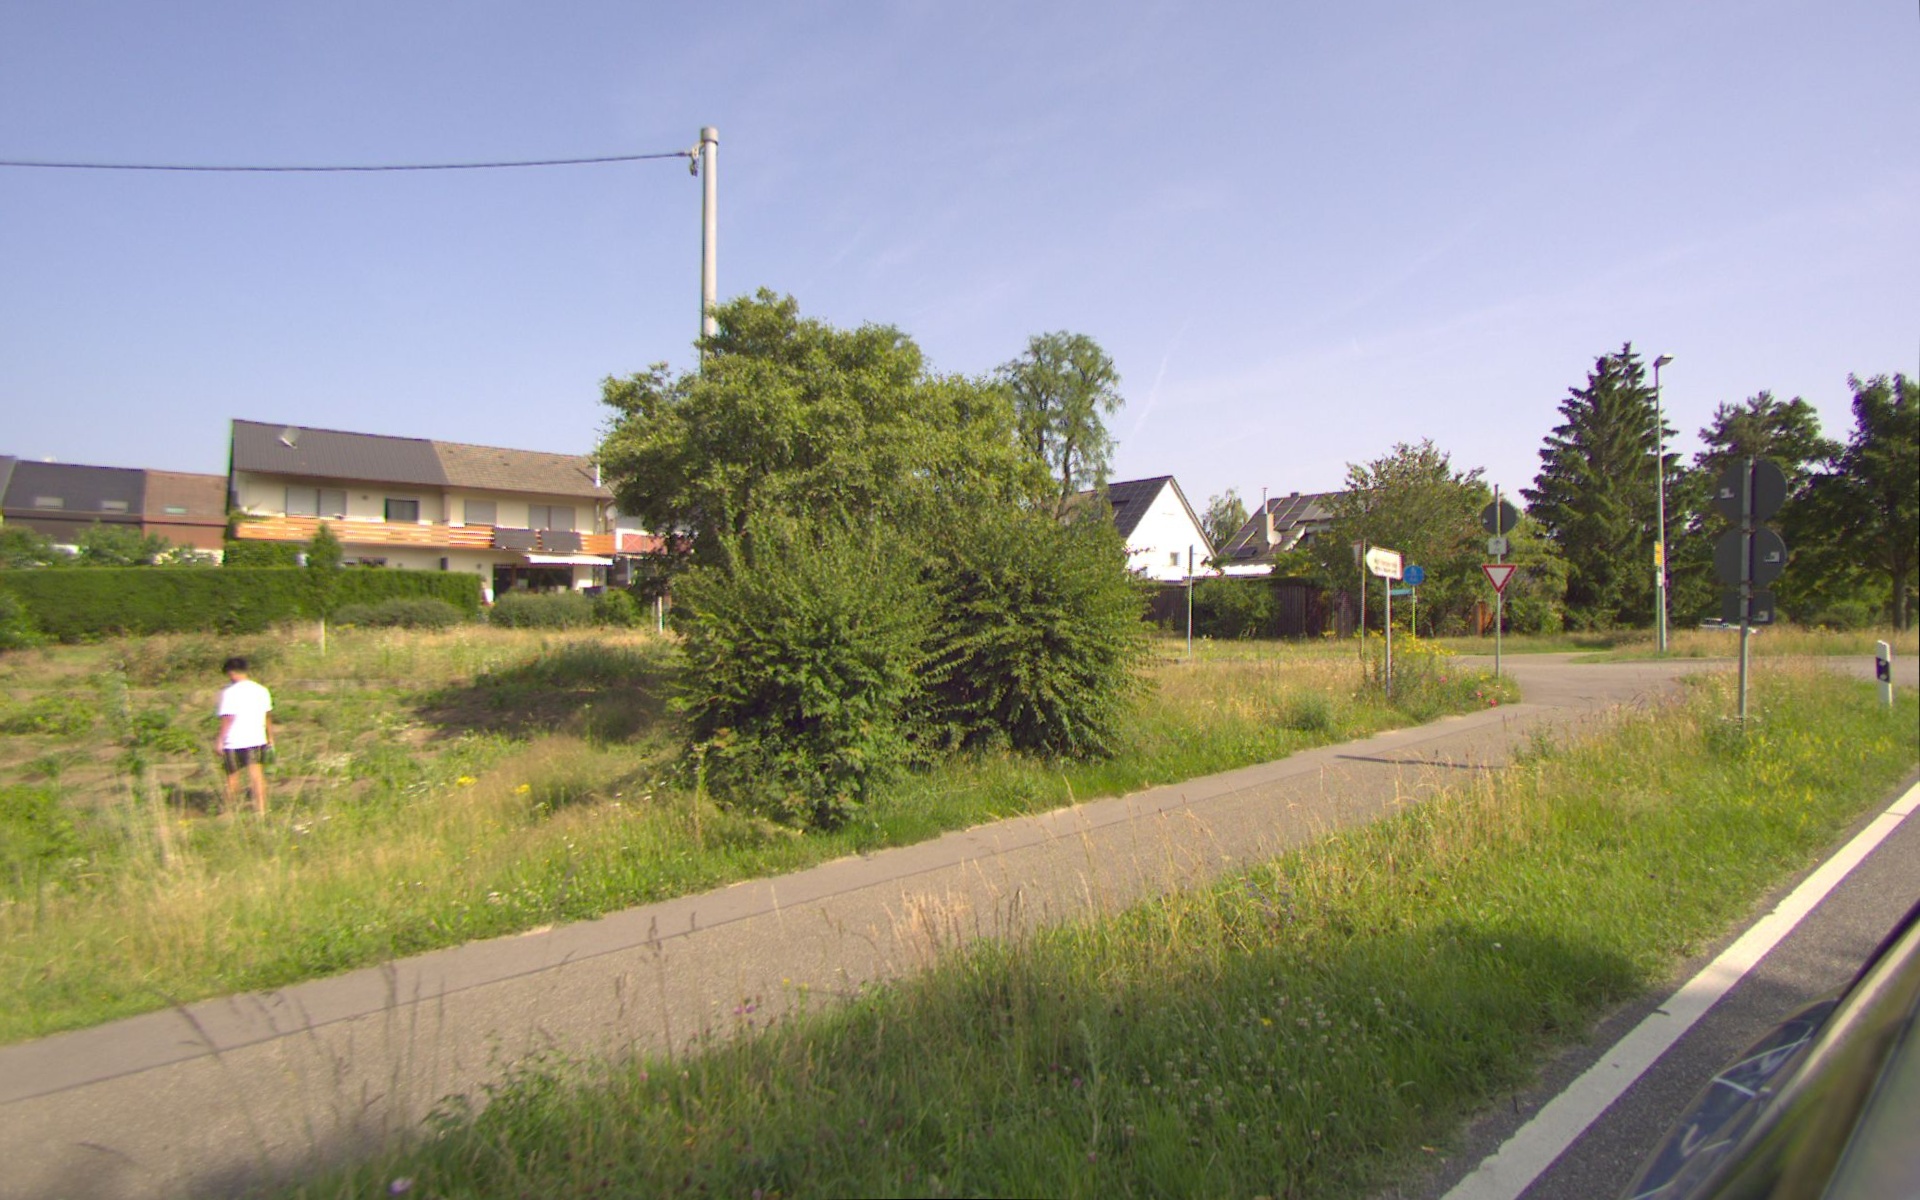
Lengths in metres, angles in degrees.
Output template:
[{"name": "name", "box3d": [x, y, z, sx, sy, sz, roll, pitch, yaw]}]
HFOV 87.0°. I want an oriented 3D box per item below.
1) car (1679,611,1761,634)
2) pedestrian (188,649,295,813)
[{"name": "car", "box3d": [49.306, 1.453, 65.713, 1.783, 1.452, 3.993, 1, -1, -41]}, {"name": "pedestrian", "box3d": [-7.824, 1.400, 11.035, 0.452, 1.634, 0.686, -1, 6, 35]}]
